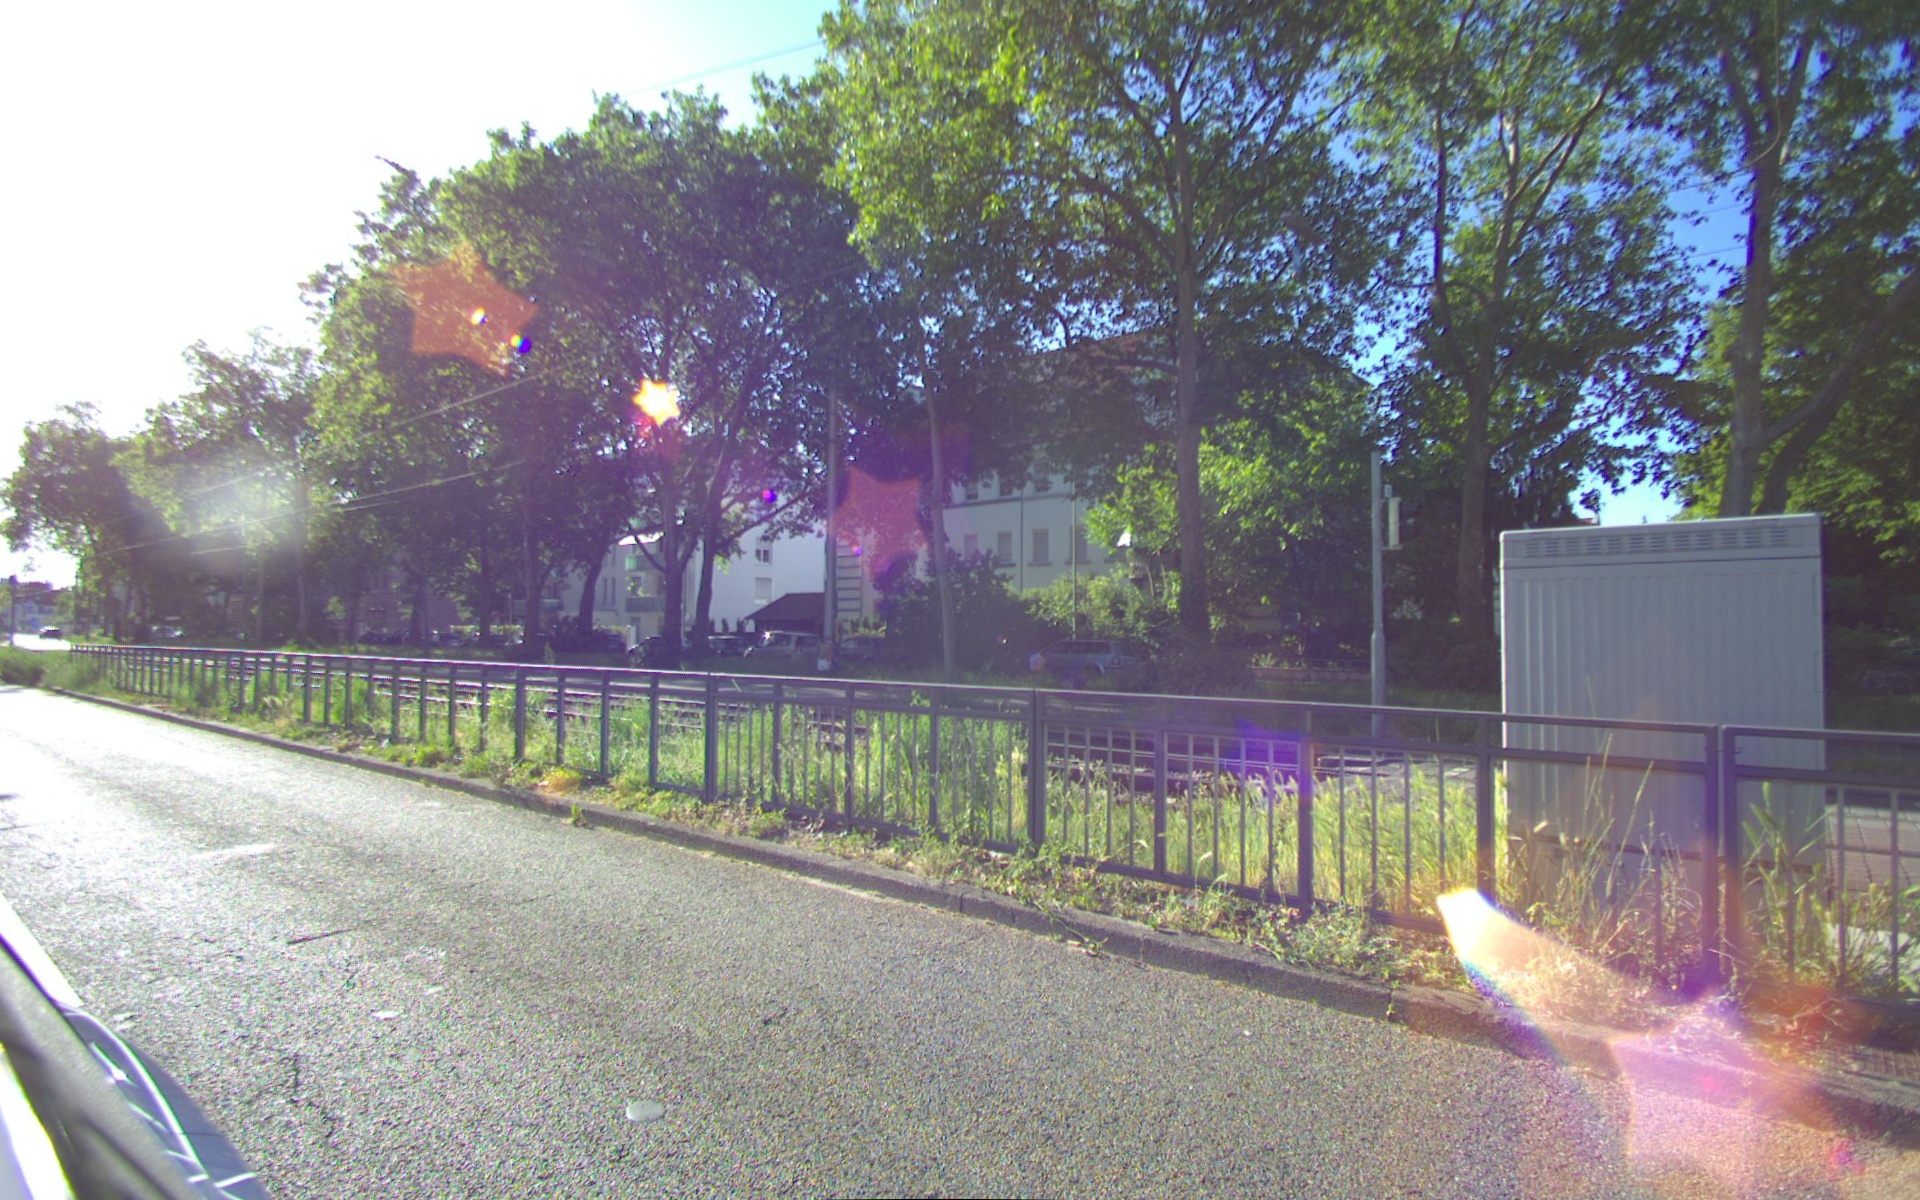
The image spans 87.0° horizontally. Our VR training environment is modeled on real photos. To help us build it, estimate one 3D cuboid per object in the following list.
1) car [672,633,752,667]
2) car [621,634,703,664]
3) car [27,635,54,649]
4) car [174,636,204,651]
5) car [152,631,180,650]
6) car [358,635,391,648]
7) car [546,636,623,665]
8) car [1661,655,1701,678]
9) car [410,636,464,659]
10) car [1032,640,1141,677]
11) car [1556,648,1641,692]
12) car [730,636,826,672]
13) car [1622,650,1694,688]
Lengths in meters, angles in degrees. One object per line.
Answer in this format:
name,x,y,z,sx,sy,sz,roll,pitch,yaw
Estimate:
car,-11.187,2.241,45.554,3.696,1.476,1.756,-2,-3,42
car,-14.343,2.346,48.616,4.459,1.334,1.623,-2,-5,42
car,-116.665,5.302,128.378,4.456,1.660,1.839,-2,-3,40
car,-78.731,4.453,103.355,3.687,1.497,1.748,-2,-3,42
car,-86.116,4.424,109.727,1.970,2.029,4.002,2,-3,-45
car,-41.542,2.956,71.817,3.058,0.883,1.094,-2,-3,41
car,-19.708,2.600,53.050,4.317,1.464,1.972,-2,-3,42
car,40.065,3.683,56.227,1.531,1.127,3.083,-2,-3,41
car,-33.877,3.056,65.461,3.998,1.484,1.778,-2,-3,41
car,4.055,1.866,32.641,3.213,1.125,1.458,-2,-3,38
car,22.971,2.475,36.364,1.999,1.429,3.945,-2,-3,41
car,-7.769,2.238,42.902,4.317,1.451,1.717,-2,-3,42
car,28.921,2.805,41.871,1.999,1.429,3.945,-2,-3,41
